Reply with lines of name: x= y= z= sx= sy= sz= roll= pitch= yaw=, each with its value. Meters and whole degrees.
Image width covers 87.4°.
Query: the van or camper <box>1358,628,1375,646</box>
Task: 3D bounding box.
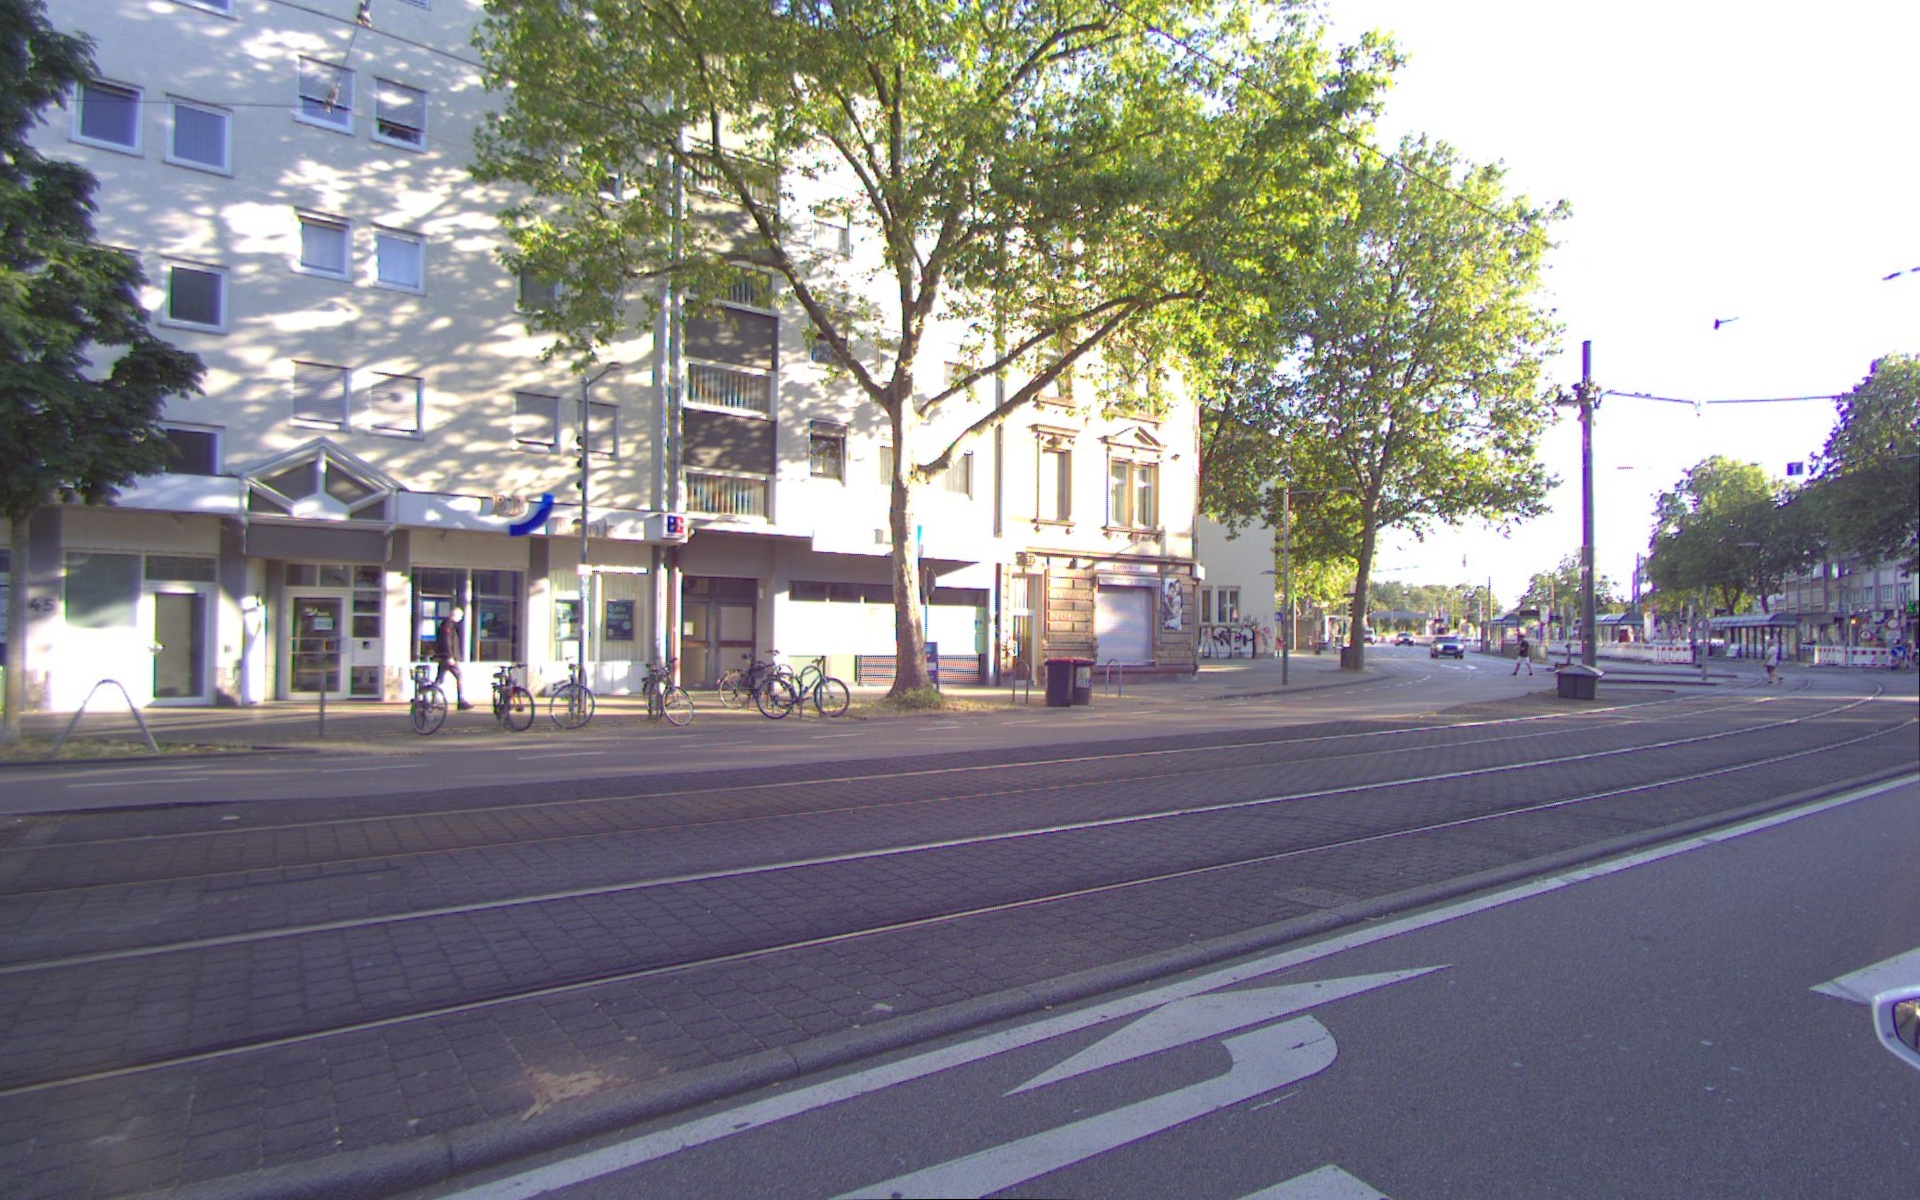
van or camper: x=56.962 y=5.175 z=140.901 sx=2.132 sy=2.349 sz=5.104 roll=0 pitch=-2 yaw=21

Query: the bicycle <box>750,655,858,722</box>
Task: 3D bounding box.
bicycle: x=-2.814 y=1.582 z=18.228 sx=1.891 sy=1.139 sz=0.505 roll=2 pitch=-1 yaw=-34

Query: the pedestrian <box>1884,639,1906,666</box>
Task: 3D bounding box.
pedestrian: x=47.192 y=2.649 z=50.711 sx=0.768 sy=1.321 sz=0.591 roll=-1 pitch=-2 yaw=40

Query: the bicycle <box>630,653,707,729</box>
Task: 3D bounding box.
bicycle: x=-4.985 y=1.516 z=17.107 sx=0.646 sy=1.139 sz=1.880 roll=2 pitch=-1 yaw=-36

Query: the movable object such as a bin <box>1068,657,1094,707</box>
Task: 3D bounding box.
movable object such as a bin: x=2.746 y=1.863 z=22.846 sx=0.562 sy=1.108 sz=0.477 roll=0 pitch=-2 yaw=5

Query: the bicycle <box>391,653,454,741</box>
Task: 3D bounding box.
bicycle: x=-7.974 y=1.394 z=14.866 sx=0.529 sy=1.139 sz=1.880 roll=2 pitch=-1 yaw=-36

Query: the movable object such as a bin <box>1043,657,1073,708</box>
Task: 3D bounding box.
movable object such as a bin: x=2.164 y=1.822 z=22.228 sx=0.634 sy=1.108 sz=0.546 roll=0 pitch=-2 yaw=5

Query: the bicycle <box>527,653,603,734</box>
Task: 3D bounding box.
bicycle: x=-6.343 y=1.464 z=16.087 sx=0.646 sy=1.139 sz=1.880 roll=2 pitch=-1 yaw=-36

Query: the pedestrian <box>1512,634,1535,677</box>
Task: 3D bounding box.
pedestrian: x=23.302 y=2.278 z=41.567 sx=0.663 sy=1.733 sz=0.431 roll=2 pitch=0 yaw=2

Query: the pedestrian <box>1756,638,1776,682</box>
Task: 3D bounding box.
pedestrian: x=28.163 y=2.091 z=35.084 sx=0.513 sy=1.524 sz=0.591 roll=-1 pitch=-2 yaw=37

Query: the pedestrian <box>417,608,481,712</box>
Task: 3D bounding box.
pedestrian: x=-9.235 y=1.075 z=18.147 sx=0.959 sy=1.811 sz=0.615 roll=2 pitch=0 yaw=-31

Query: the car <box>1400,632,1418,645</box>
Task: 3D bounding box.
car: x=55.815 y=4.813 z=124.778 sx=1.855 sy=1.606 sz=4.206 roll=0 pitch=-2 yaw=22

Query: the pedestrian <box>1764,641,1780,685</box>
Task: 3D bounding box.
pedestrian: x=28.721 y=2.228 z=35.538 sx=0.403 sy=1.524 sz=0.515 roll=-1 pitch=-2 yaw=38

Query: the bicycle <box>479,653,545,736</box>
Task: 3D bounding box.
bicycle: x=-6.982 y=1.435 z=15.614 sx=0.529 sy=1.139 sz=1.880 roll=2 pitch=-1 yaw=-36

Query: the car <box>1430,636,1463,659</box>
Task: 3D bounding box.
car: x=32.743 y=3.158 z=67.655 sx=1.856 sy=1.492 sz=4.205 roll=0 pitch=-2 yaw=24

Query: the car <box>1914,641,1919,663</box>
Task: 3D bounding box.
car: x=64.517 y=3.410 z=65.860 sx=1.635 sy=1.488 sz=3.412 roll=-3 pitch=-3 yaw=22

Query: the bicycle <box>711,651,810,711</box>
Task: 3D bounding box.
bicycle: x=-3.961 y=1.593 z=20.024 sx=1.891 sy=1.139 sz=0.505 roll=2 pitch=-1 yaw=-34
